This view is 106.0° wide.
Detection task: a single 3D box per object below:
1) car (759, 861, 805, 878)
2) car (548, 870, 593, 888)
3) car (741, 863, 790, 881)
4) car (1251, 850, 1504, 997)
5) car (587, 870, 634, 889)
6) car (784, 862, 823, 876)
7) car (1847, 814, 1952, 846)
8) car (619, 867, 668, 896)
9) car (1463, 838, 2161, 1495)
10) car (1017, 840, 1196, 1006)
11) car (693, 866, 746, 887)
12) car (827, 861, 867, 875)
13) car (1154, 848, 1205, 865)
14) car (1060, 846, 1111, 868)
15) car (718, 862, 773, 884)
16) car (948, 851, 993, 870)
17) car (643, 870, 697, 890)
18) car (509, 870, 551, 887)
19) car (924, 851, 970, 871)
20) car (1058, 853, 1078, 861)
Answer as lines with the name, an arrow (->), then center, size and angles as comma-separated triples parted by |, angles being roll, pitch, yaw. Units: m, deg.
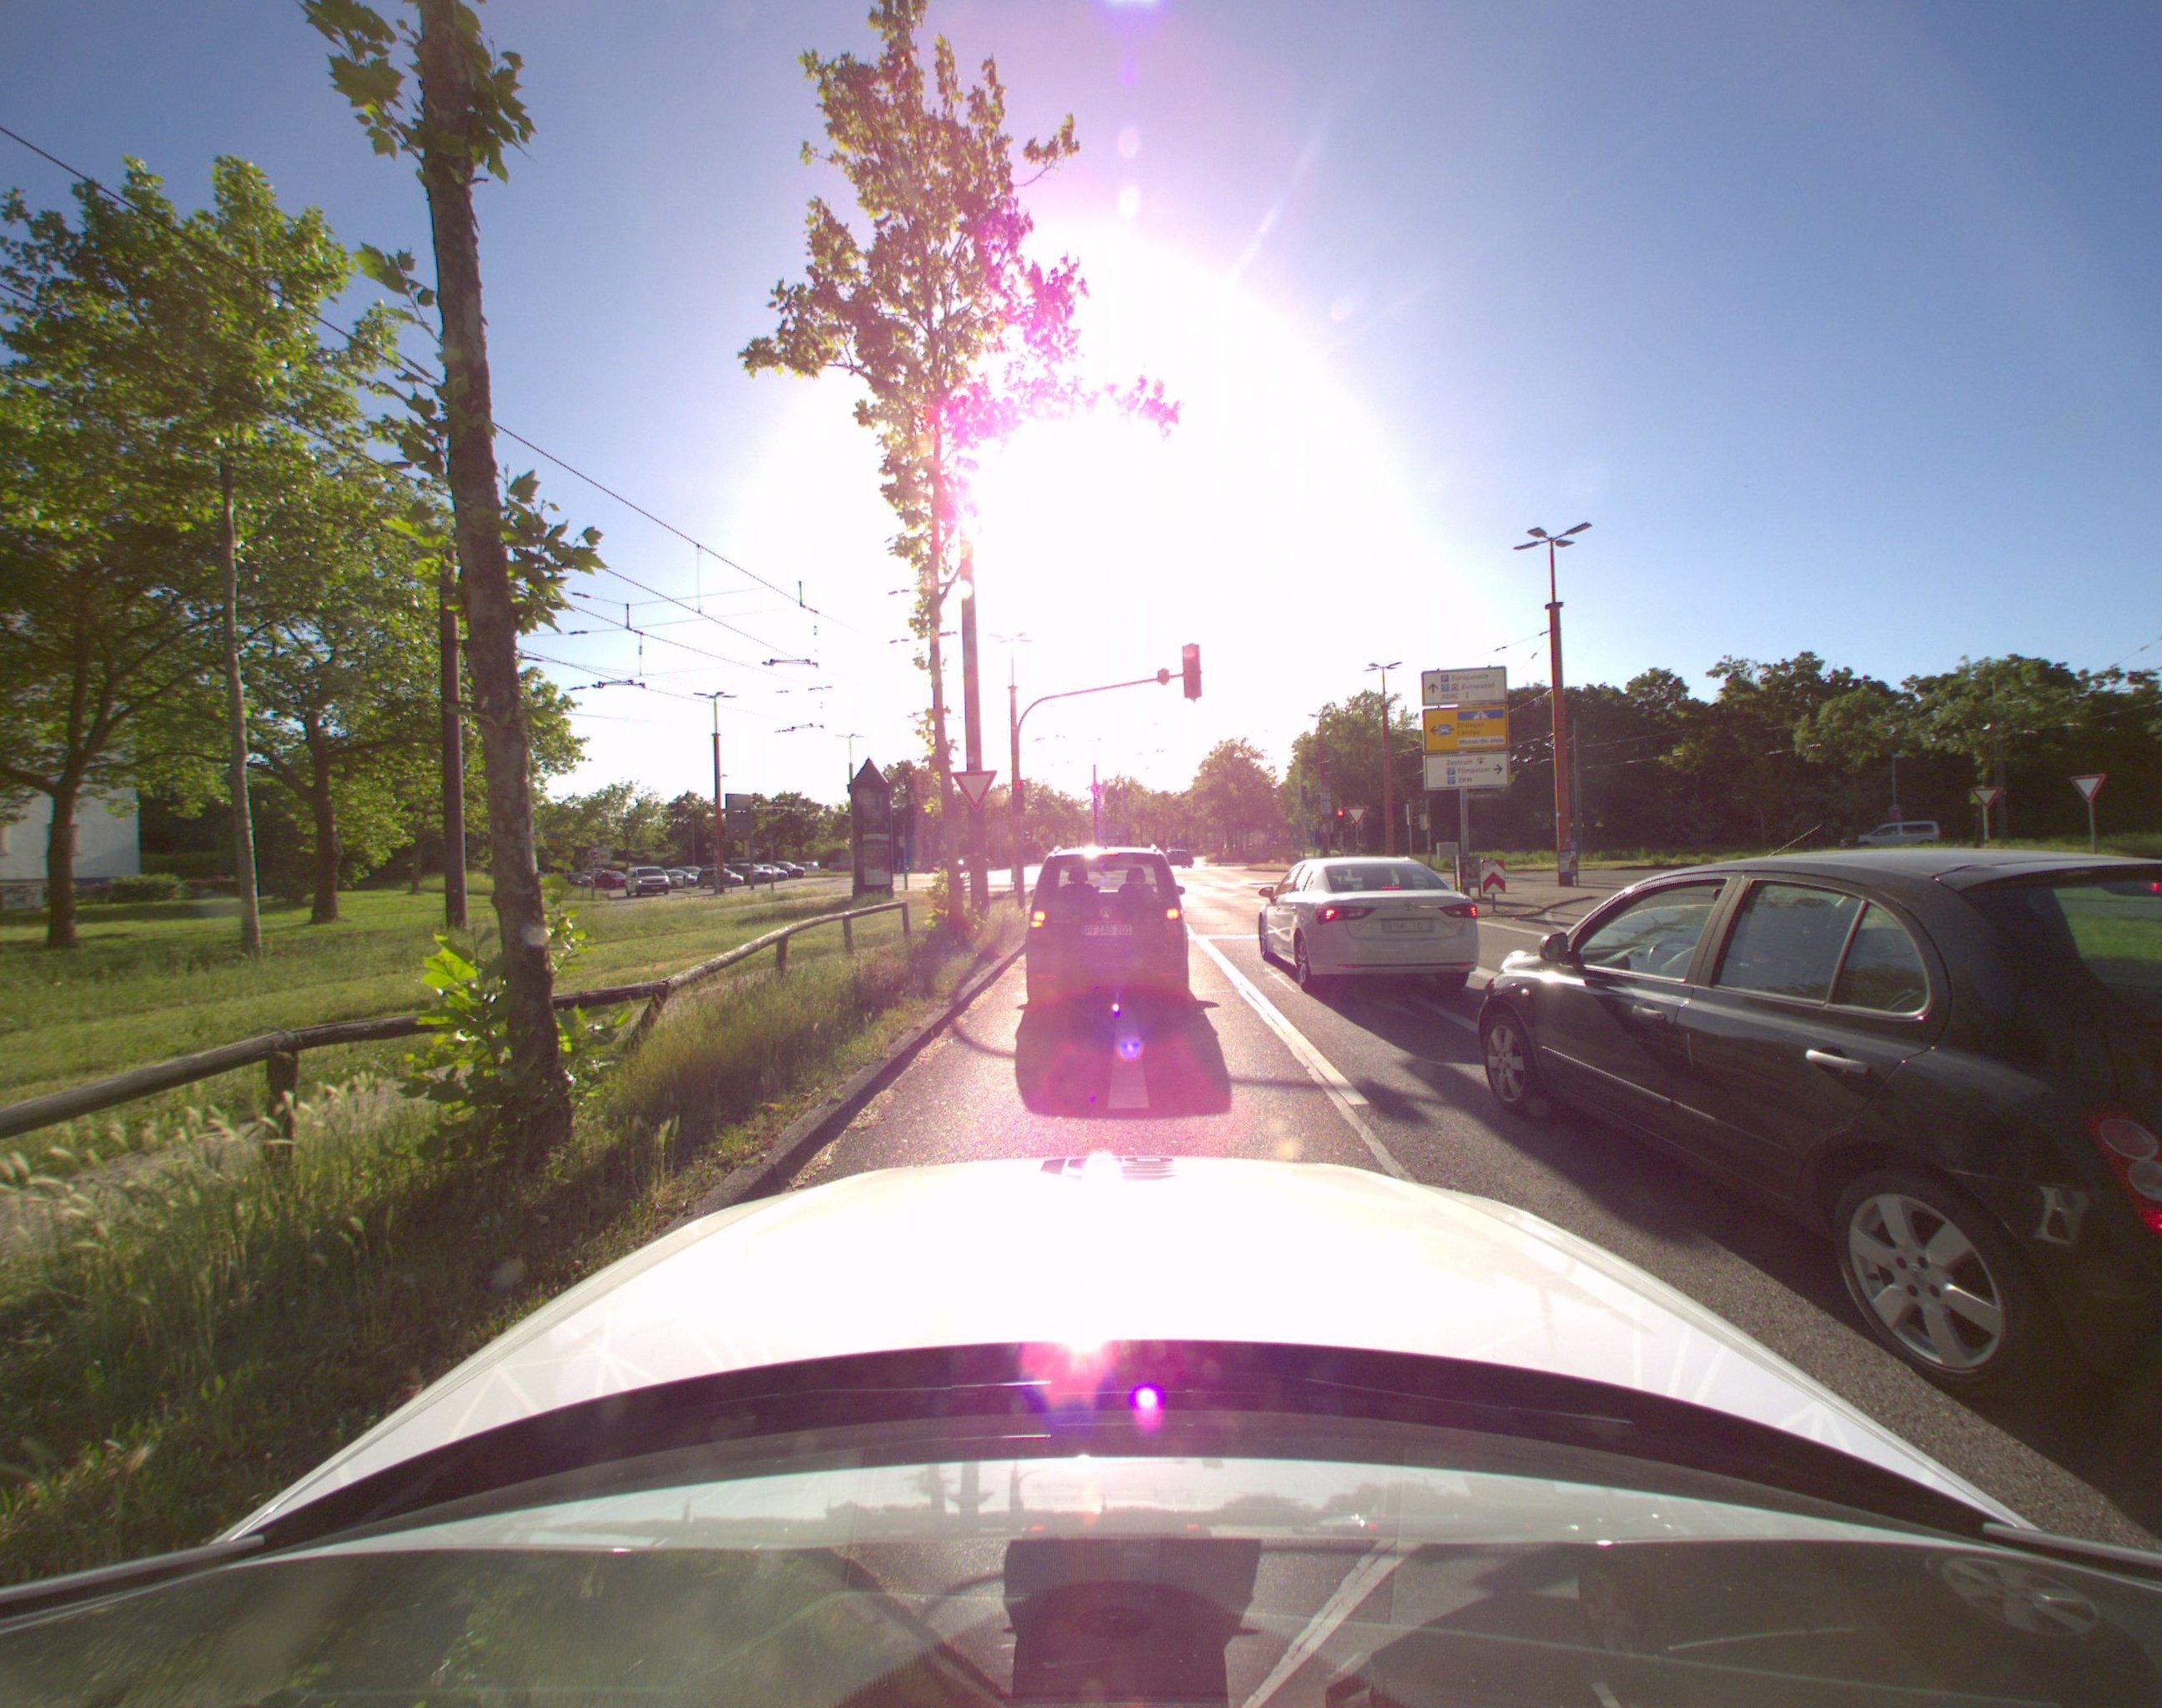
car -> -26.733, 1.382, 72.819 | 4.102, 1.415, 1.553 | -1, 0, 28
car -> -45.082, 2.219, 71.909 | 4.145, 1.520, 1.667 | -1, 0, 32
car -> -26.836, 1.524, 69.194 | 4.102, 1.415, 1.553 | -1, 0, 28
car -> 3.367, 0.708, 10.194 | 1.792, 1.440, 4.329 | 0, -1, 3
car -> -39.445, 2.149, 68.258 | 4.145, 1.520, 1.667 | -1, 0, 32
car -> -29.782, 1.598, 87.476 | 4.079, 1.403, 1.667 | -1, 0, 29
car -> 48.808, -1.397, 48.657 | 4.079, 1.750, 1.667 | -1, 0, 29
car -> -28.814, 1.771, 53.601 | 1.842, 1.821, 4.845 | -1, 0, -40
car -> 3.174, 0.694, 3.496 | 1.570, 1.440, 3.443 | 0, -1, 2
car -> 0.360, 0.688, 10.089 | 1.731, 1.602, 4.329 | 0, -1, 3
car -> -27.334, 1.695, 61.576 | 3.793, 1.441, 1.667 | -1, 0, 29
car -> -25.732, 1.585, 89.548 | 4.080, 1.471, 1.667 | -1, 0, 27
car -> 8.678, 0.246, 71.655 | 4.080, 1.403, 1.666 | -1, 0, 27
car -> 0.375, 0.267, 71.480 | 4.081, 1.791, 1.809 | -1, 0, 26
car -> -26.929, 1.517, 65.357 | 4.583, 1.647, 1.667 | -1, 0, 32
car -> -11.162, 0.674, 82.195 | 4.080, 1.791, 1.810 | -1, 0, 28
car -> -32.668, 2.074, 64.740 | 4.577, 1.520, 1.667 | -1, 0, 32
car -> -51.129, 2.258, 75.530 | 4.145, 1.520, 1.667 | -1, 0, 32
car -> -12.900, 0.652, 78.321 | 4.081, 1.791, 1.809 | -1, 0, 26
car -> -2.195, 0.520, 135.686 | 1.660, 1.403, 4.097 | -1, 0, -26
